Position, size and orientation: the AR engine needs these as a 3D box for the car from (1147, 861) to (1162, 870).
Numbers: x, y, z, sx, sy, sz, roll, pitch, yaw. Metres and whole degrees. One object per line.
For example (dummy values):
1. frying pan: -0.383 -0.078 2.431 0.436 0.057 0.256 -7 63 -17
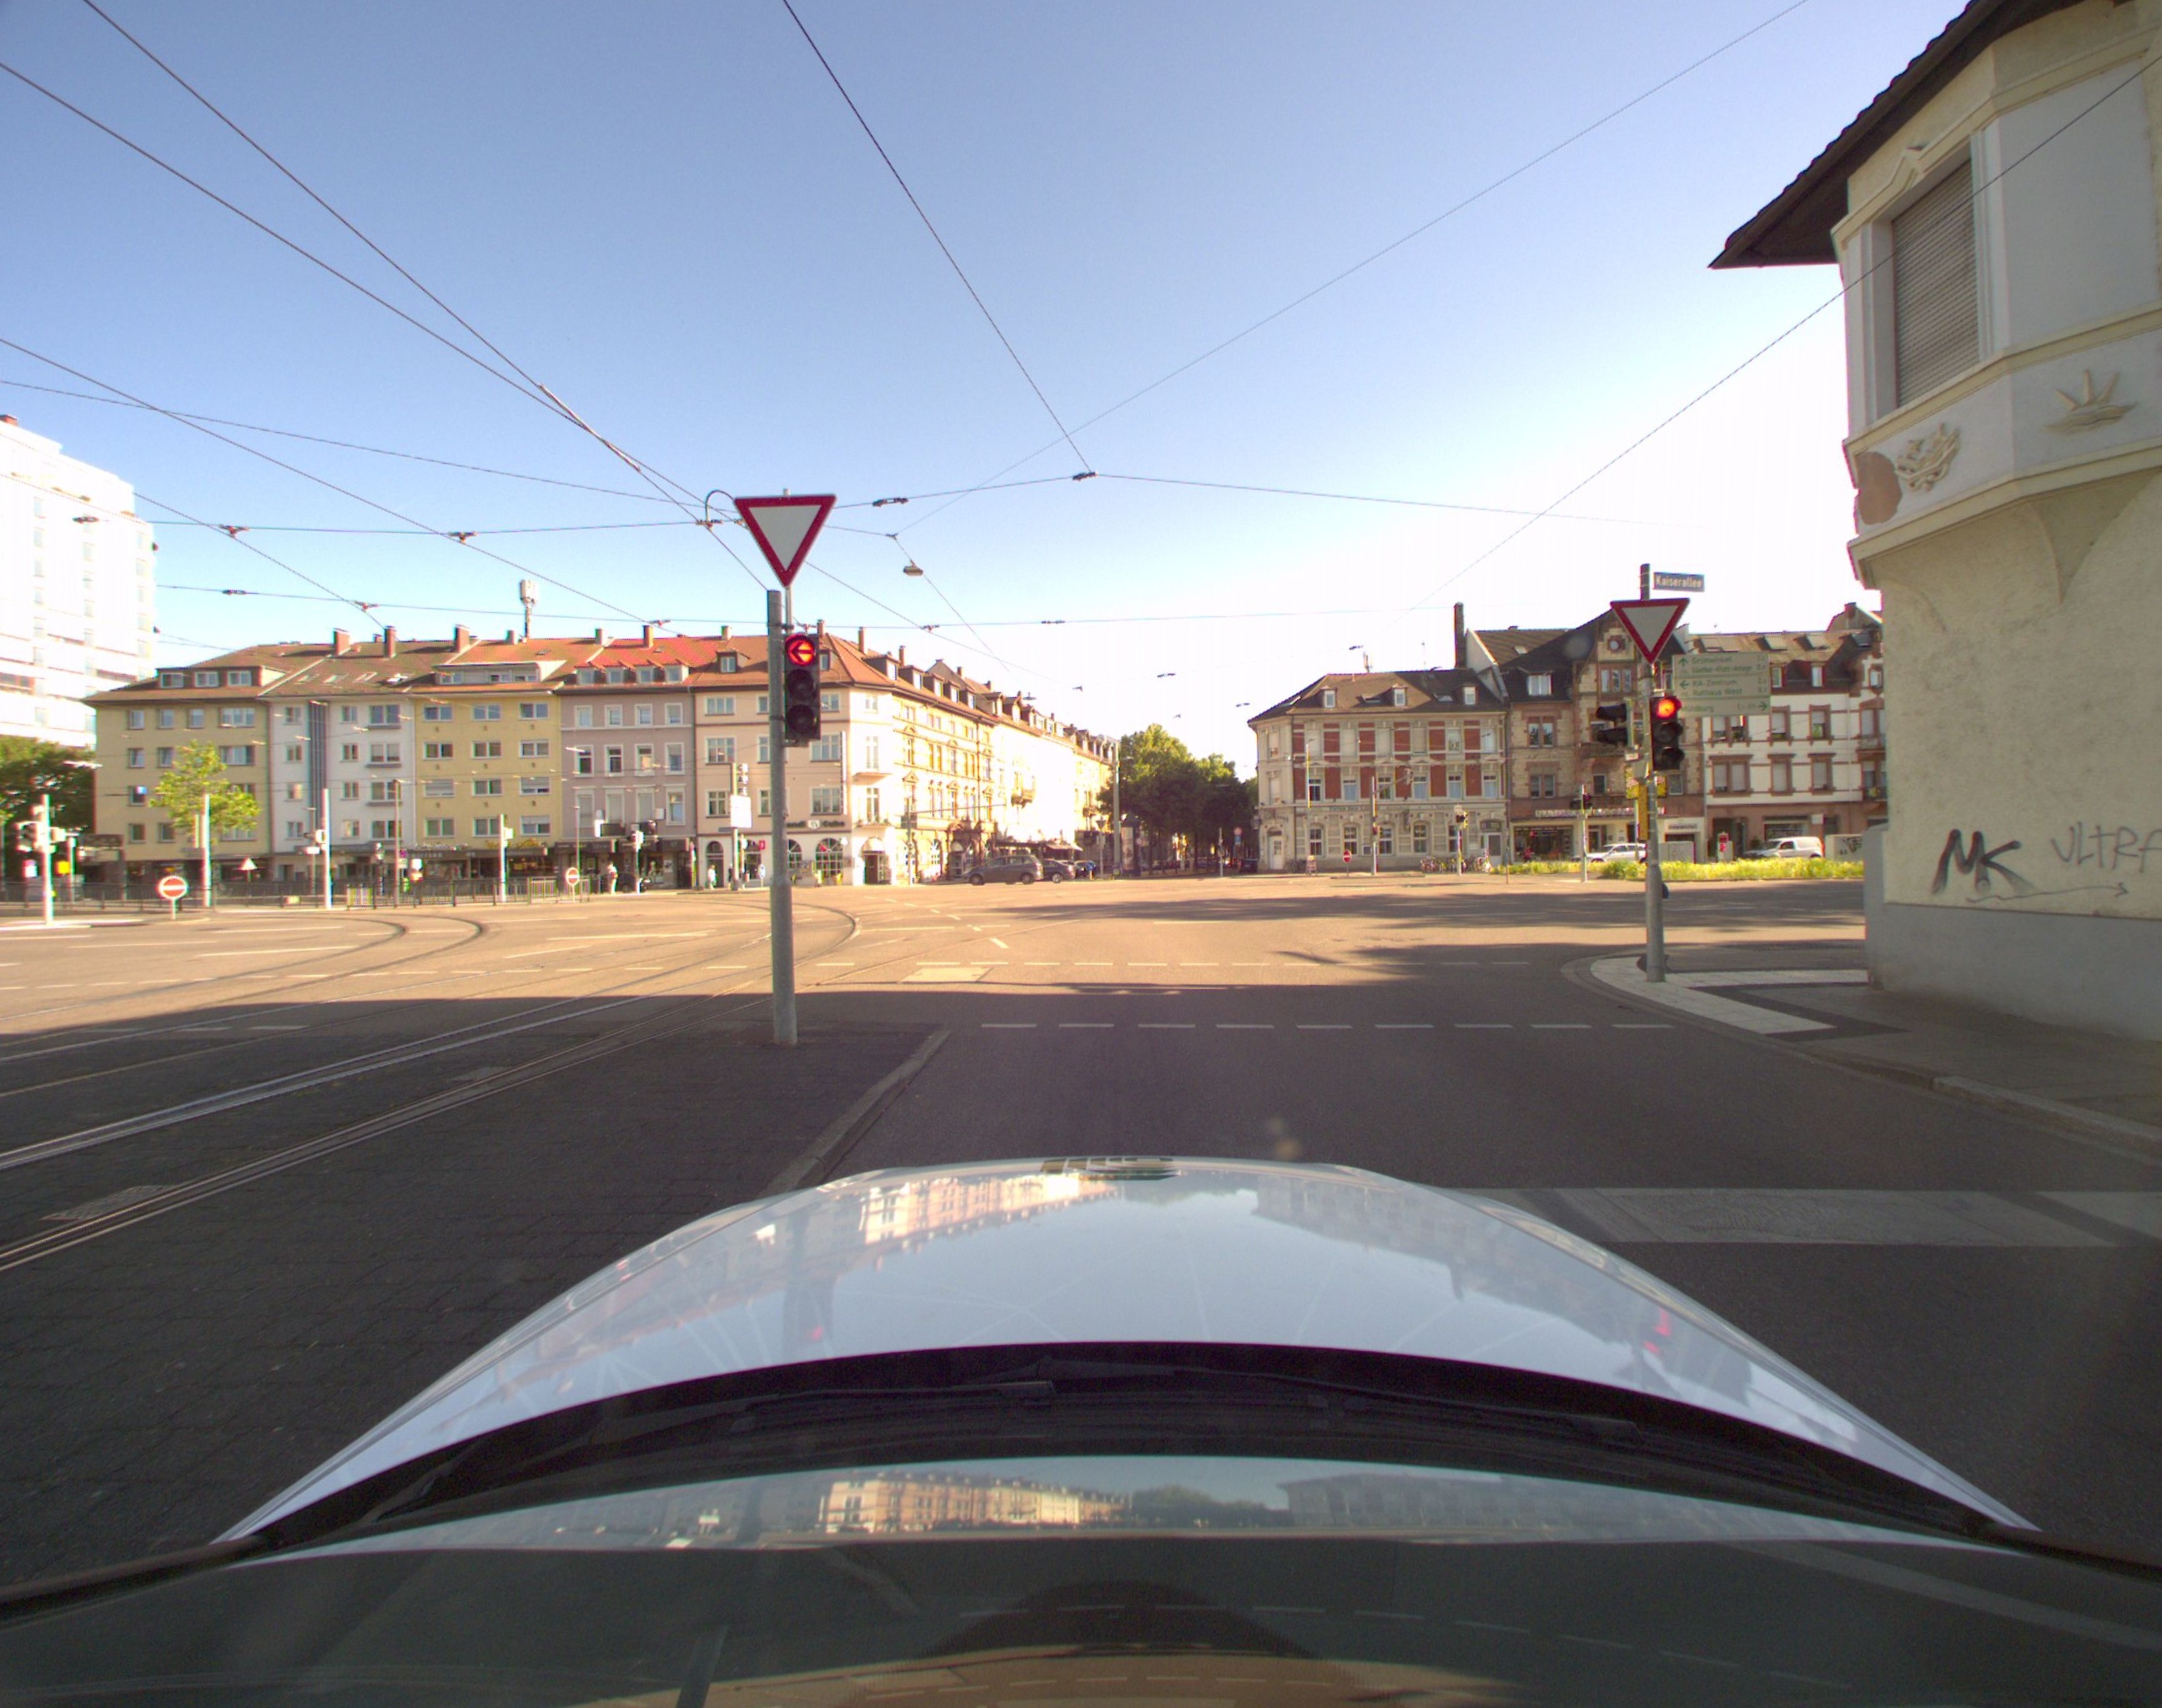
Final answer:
1. car: 11.066 1.724 122.710 1.729 1.397 4.137 1 0 12

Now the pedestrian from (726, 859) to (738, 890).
1. pedestrian: -22.775 1.355 53.122 0.506 2.013 0.505 -1 0 5

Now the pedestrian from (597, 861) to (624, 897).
1. pedestrian: -24.567 1.309 42.556 0.871 1.818 0.811 -1 0 2

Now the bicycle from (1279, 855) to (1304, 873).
1. bicycle: 14.699 0.688 56.940 1.625 1.222 0.609 -1 0 18

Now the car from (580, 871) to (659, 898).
1. car: -30.271 1.990 53.533 3.978 1.464 1.998 -2 0 -4

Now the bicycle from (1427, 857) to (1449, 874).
1. bicycle: 23.152 0.732 52.871 0.603 1.051 1.641 -1 0 -3

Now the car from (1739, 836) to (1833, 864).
1. car: 45.387 -0.234 52.473 4.356 1.654 1.999 -1 0 -2

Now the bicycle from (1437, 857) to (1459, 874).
1. bicycle: 23.816 0.727 52.871 0.603 1.051 1.641 -1 0 -3

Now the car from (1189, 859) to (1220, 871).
1. car: 17.488 1.521 114.994 4.078 1.646 1.754 1 0 17

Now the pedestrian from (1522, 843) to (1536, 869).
1. pedestrian: 30.618 0.166 55.633 0.705 1.751 0.421 -1 0 3

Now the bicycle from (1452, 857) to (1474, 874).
1. bicycle: 24.642 0.719 52.570 0.603 1.051 1.641 -1 0 -3

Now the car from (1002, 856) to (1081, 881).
1. car: -2.281 0.842 47.967 4.496 1.341 2.000 -1 0 0

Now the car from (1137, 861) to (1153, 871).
1. car: 9.179 1.681 115.773 1.729 1.397 4.137 1 0 12

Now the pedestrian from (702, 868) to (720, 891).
1. pedestrian: -25.518 1.755 56.133 0.787 1.527 0.860 -1 0 2

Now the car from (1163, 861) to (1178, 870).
1. car: 14.443 1.805 131.457 1.728 1.397 4.141 1 0 16

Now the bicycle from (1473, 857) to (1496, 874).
1. bicycle: 26.056 0.709 52.613 0.603 1.051 1.641 -1 0 -3

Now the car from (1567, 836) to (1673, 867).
1. car: 31.528 -0.125 47.757 4.826 1.660 2.002 -1 0 3

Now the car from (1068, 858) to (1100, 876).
1. car: 0.294 1.148 73.693 1.979 1.513 4.015 -1 0 14

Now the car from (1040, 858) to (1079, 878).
1. car: -1.727 1.160 67.370 2.080 1.499 4.017 -1 0 16

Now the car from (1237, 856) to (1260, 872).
1. car: 16.908 0.988 82.052 1.637 1.524 3.772 -2 -1 20

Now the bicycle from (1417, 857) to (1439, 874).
1. bicycle: 22.499 0.737 52.840 0.603 1.051 1.641 -1 0 -3

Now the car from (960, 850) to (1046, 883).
1. car: -4.277 0.664 45.103 4.494 1.672 2.000 -1 0 1

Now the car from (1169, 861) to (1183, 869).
1. car: 15.867 1.829 136.205 1.728 1.397 4.141 1 0 16

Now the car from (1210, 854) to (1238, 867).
1. car: 23.375 1.081 133.073 4.074 1.919 1.756 1 0 23

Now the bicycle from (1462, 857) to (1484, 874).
1. bicycle: 25.317 0.714 52.620 0.603 1.051 1.641 -1 0 -3
